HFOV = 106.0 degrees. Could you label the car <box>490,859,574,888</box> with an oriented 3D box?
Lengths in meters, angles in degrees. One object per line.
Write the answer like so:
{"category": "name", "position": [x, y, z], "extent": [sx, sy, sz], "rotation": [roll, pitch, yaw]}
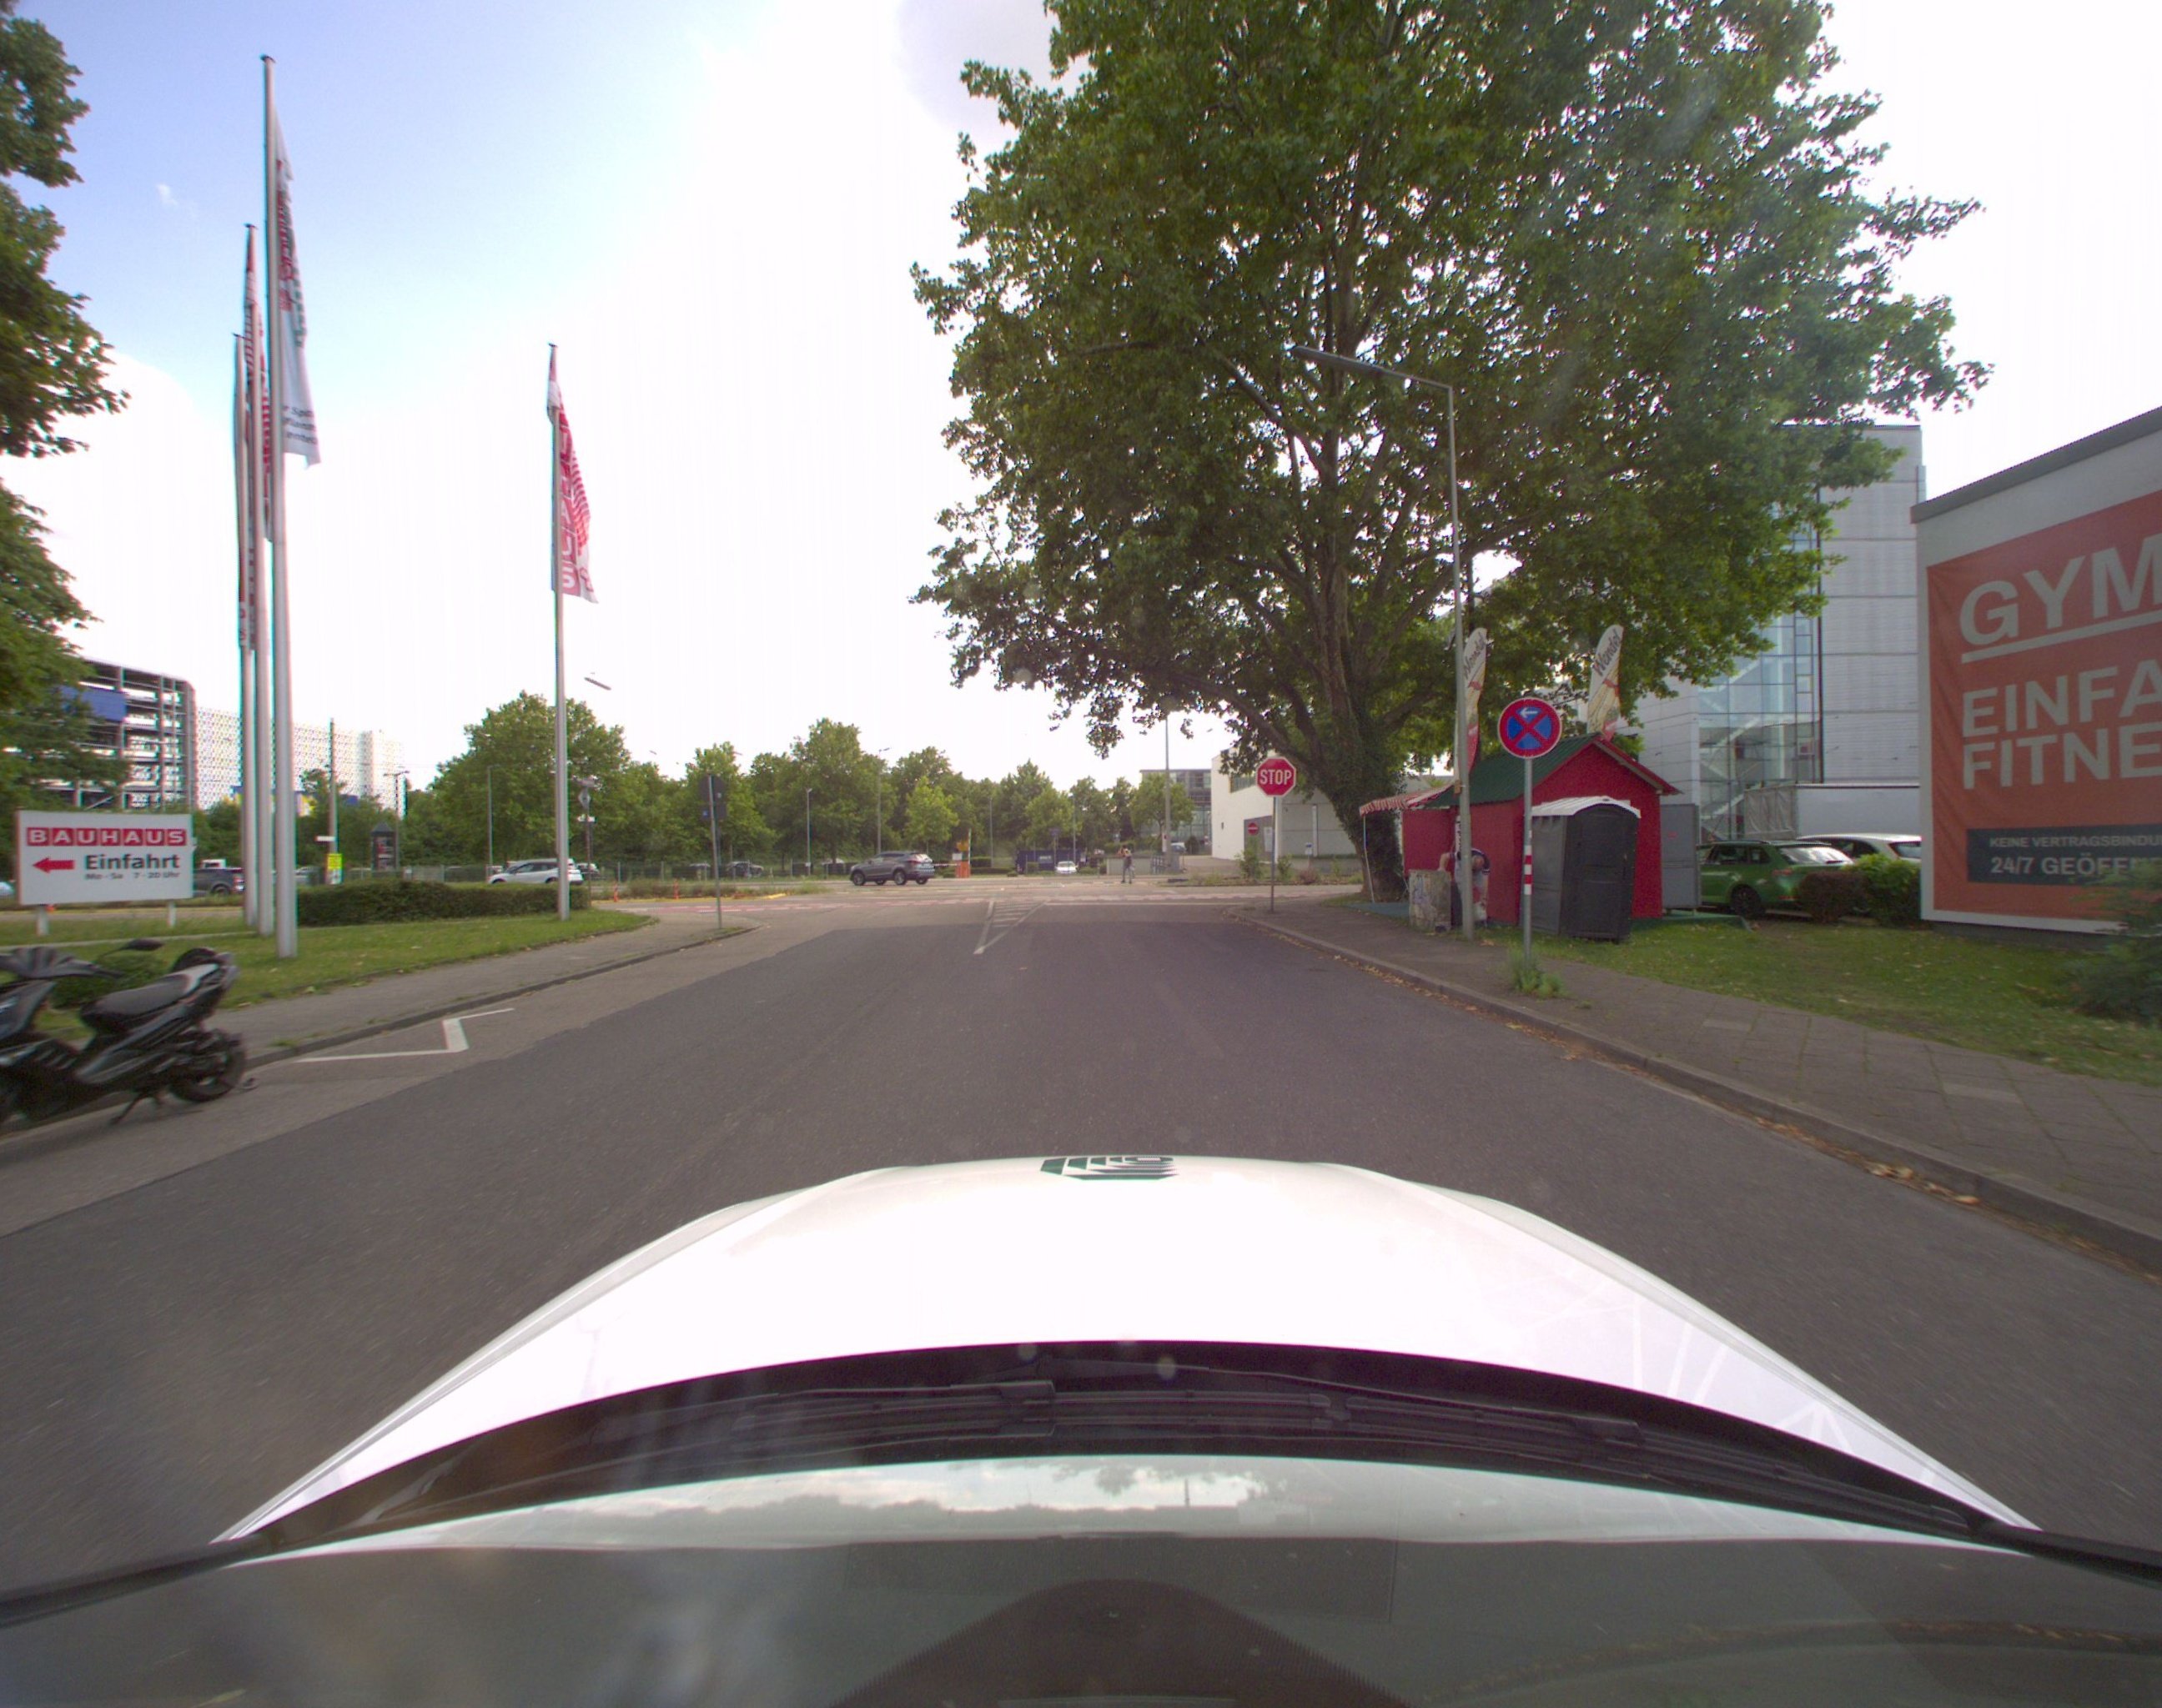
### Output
{"category": "car", "position": [-43.809, 1.524, 65.096], "extent": [5.278, 2.211, 1.794], "rotation": [-1, 0, -6]}

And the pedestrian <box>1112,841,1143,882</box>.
{"category": "pedestrian", "position": [2.147, 0.336, 37.541], "extent": [1.004, 1.849, 1.221], "rotation": [-1, 0, -20]}

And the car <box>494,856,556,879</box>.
{"category": "car", "position": [-53.770, 1.305, 78.872], "extent": [1.837, 2.135, 4.598], "rotation": [-1, 0, 30]}

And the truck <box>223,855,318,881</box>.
{"category": "truck", "position": [-73.281, 1.229, 73.728], "extent": [2.007, 2.288, 5.772], "rotation": [-1, 0, 31]}

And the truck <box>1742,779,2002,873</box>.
{"category": "truck", "position": [35.285, -1.224, 36.496], "extent": [9.497, 3.896, 2.795], "rotation": [-1, 0, -5]}

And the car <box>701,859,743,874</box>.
{"category": "car", "position": [-43.842, 1.532, 99.480], "extent": [1.895, 1.721, 4.327], "rotation": [-1, 0, 31]}

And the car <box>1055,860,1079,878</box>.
{"category": "car", "position": [-1.193, 1.280, 69.710], "extent": [1.925, 1.403, 4.079], "rotation": [-1, 0, -1]}

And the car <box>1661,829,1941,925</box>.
{"category": "car", "position": [12.961, 0.360, 15.054], "extent": [1.733, 1.512, 4.002], "rotation": [-1, 0, 2]}

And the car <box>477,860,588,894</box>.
{"category": "car", "position": [-27.741, 1.166, 41.328], "extent": [4.212, 1.579, 1.921], "rotation": [-1, 0, -4]}

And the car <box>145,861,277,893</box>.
{"category": "car", "position": [-42.793, 1.116, 40.128], "extent": [4.212, 1.406, 1.921], "rotation": [-1, 0, -4]}

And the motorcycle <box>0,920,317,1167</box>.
{"category": "motorcycle", "position": [-6.007, 1.084, 5.140], "extent": [0.619, 1.138, 1.801], "rotation": [-4, 0, -1]}

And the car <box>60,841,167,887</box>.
{"category": "car", "position": [-58.607, 0.605, 49.508], "extent": [2.213, 2.578, 6.341], "rotation": [-1, 0, -31]}

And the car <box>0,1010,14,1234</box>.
{"category": "car", "position": [-5.398, 0.951, 1.262], "extent": [1.704, 1.420, 4.330], "rotation": [-4, 0, 0]}

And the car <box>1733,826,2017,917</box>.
{"category": "car", "position": [15.523, 0.294, 16.268], "extent": [1.735, 1.568, 3.997], "rotation": [-1, 0, -2]}

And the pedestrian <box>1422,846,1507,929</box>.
{"category": "pedestrian", "position": [6.321, 0.536, 13.480], "extent": [1.008, 1.314, 0.966], "rotation": [-1, 0, 6]}

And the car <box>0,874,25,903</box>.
{"category": "car", "position": [-54.566, 1.727, 39.510], "extent": [4.010, 1.406, 1.795], "rotation": [-1, 0, -4]}

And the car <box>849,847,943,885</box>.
{"category": "car", "position": [-9.336, 0.581, 41.217], "extent": [4.224, 1.815, 1.979], "rotation": [-1, 0, 22]}

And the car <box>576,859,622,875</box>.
{"category": "car", "position": [-54.595, 1.484, 92.264], "extent": [1.895, 1.662, 4.025], "rotation": [-1, 0, 31]}

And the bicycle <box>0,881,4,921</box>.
{"category": "bicycle", "position": [-32.571, 1.409, 23.472], "extent": [1.807, 1.166, 0.728], "rotation": [-2, 1, -7]}
